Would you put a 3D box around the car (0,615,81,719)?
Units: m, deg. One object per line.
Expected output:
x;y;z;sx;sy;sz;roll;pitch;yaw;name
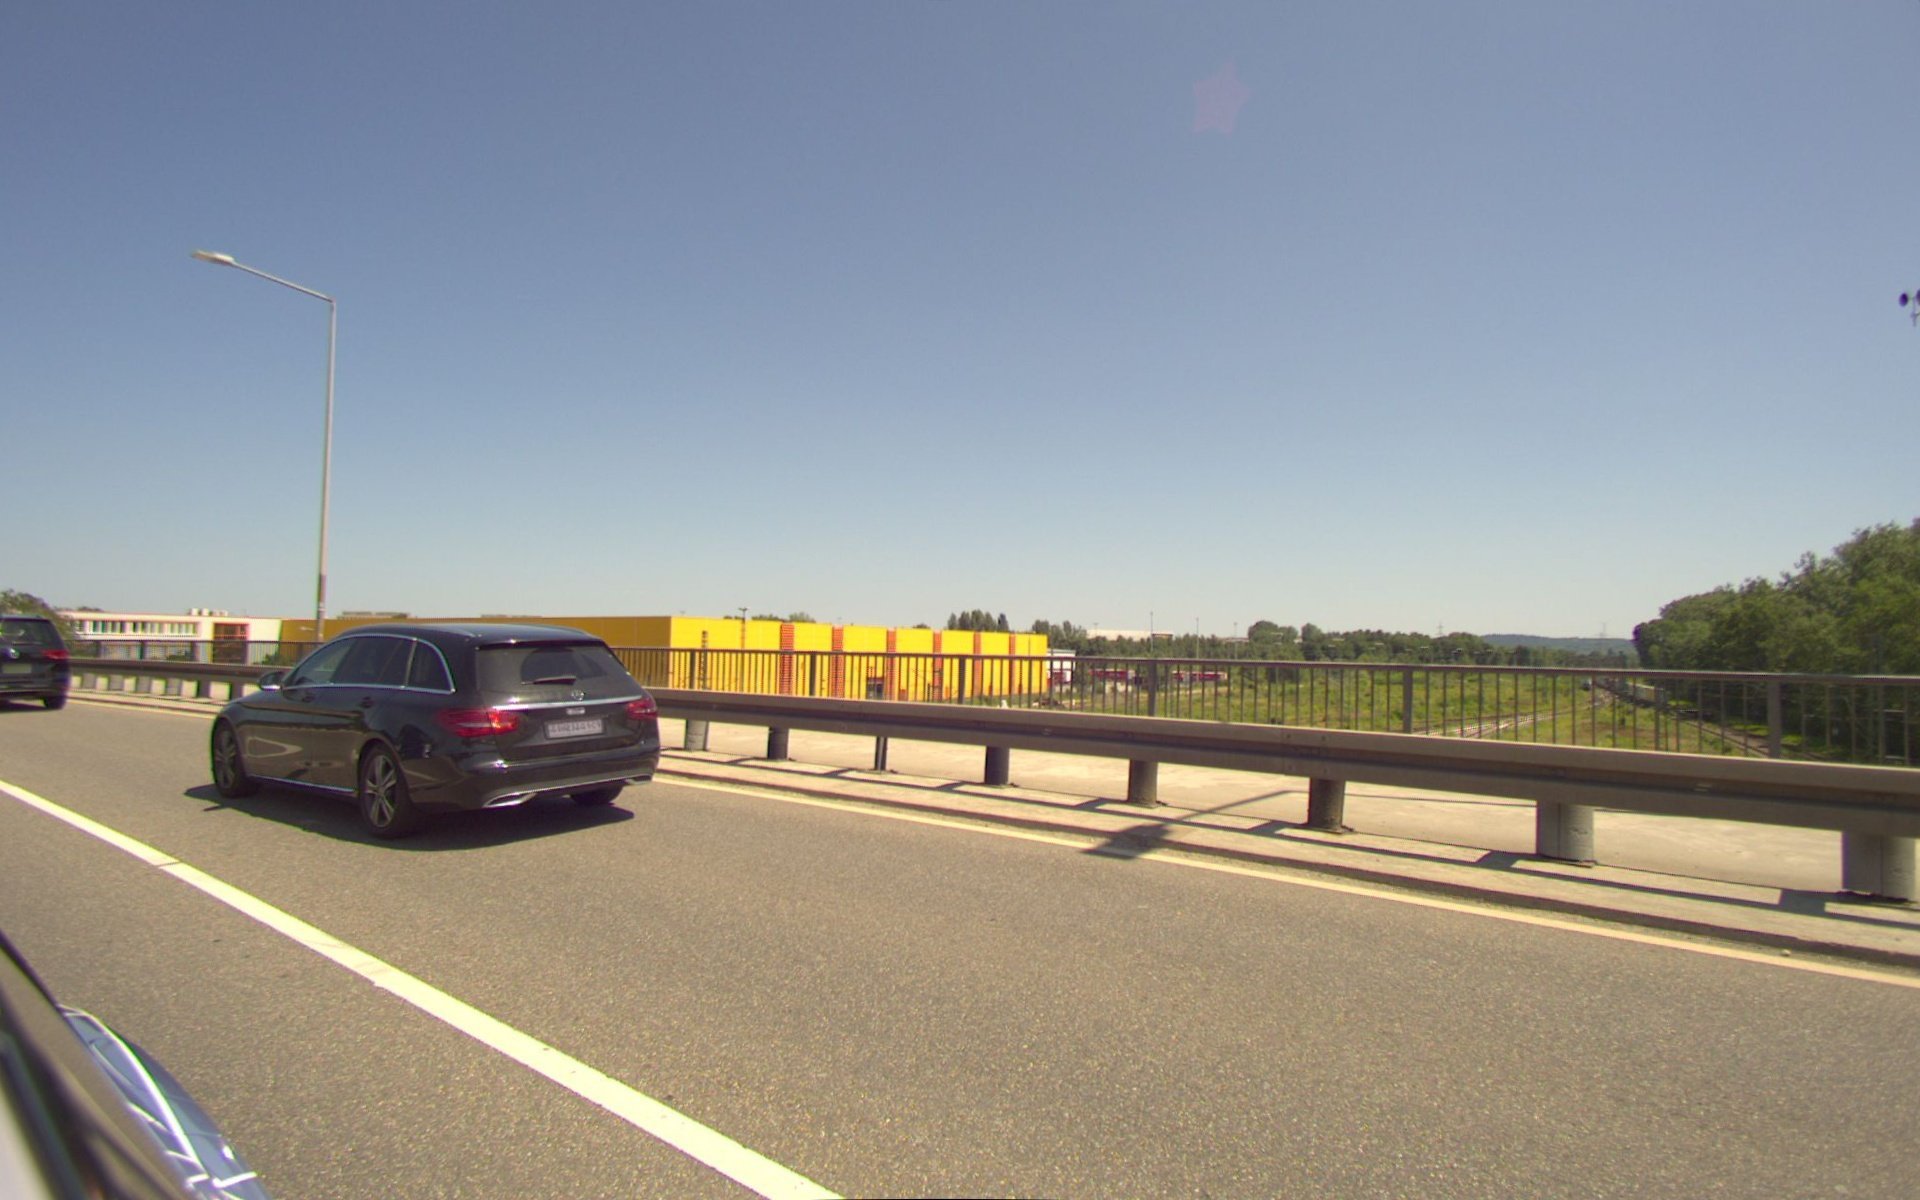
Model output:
-16.979;1.096;17.255;4.238;1.638;1.759;-1;-2;31;car

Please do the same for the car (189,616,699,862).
-4.210;0.874;7.990;4.381;1.449;1.757;-1;-1;35;car
